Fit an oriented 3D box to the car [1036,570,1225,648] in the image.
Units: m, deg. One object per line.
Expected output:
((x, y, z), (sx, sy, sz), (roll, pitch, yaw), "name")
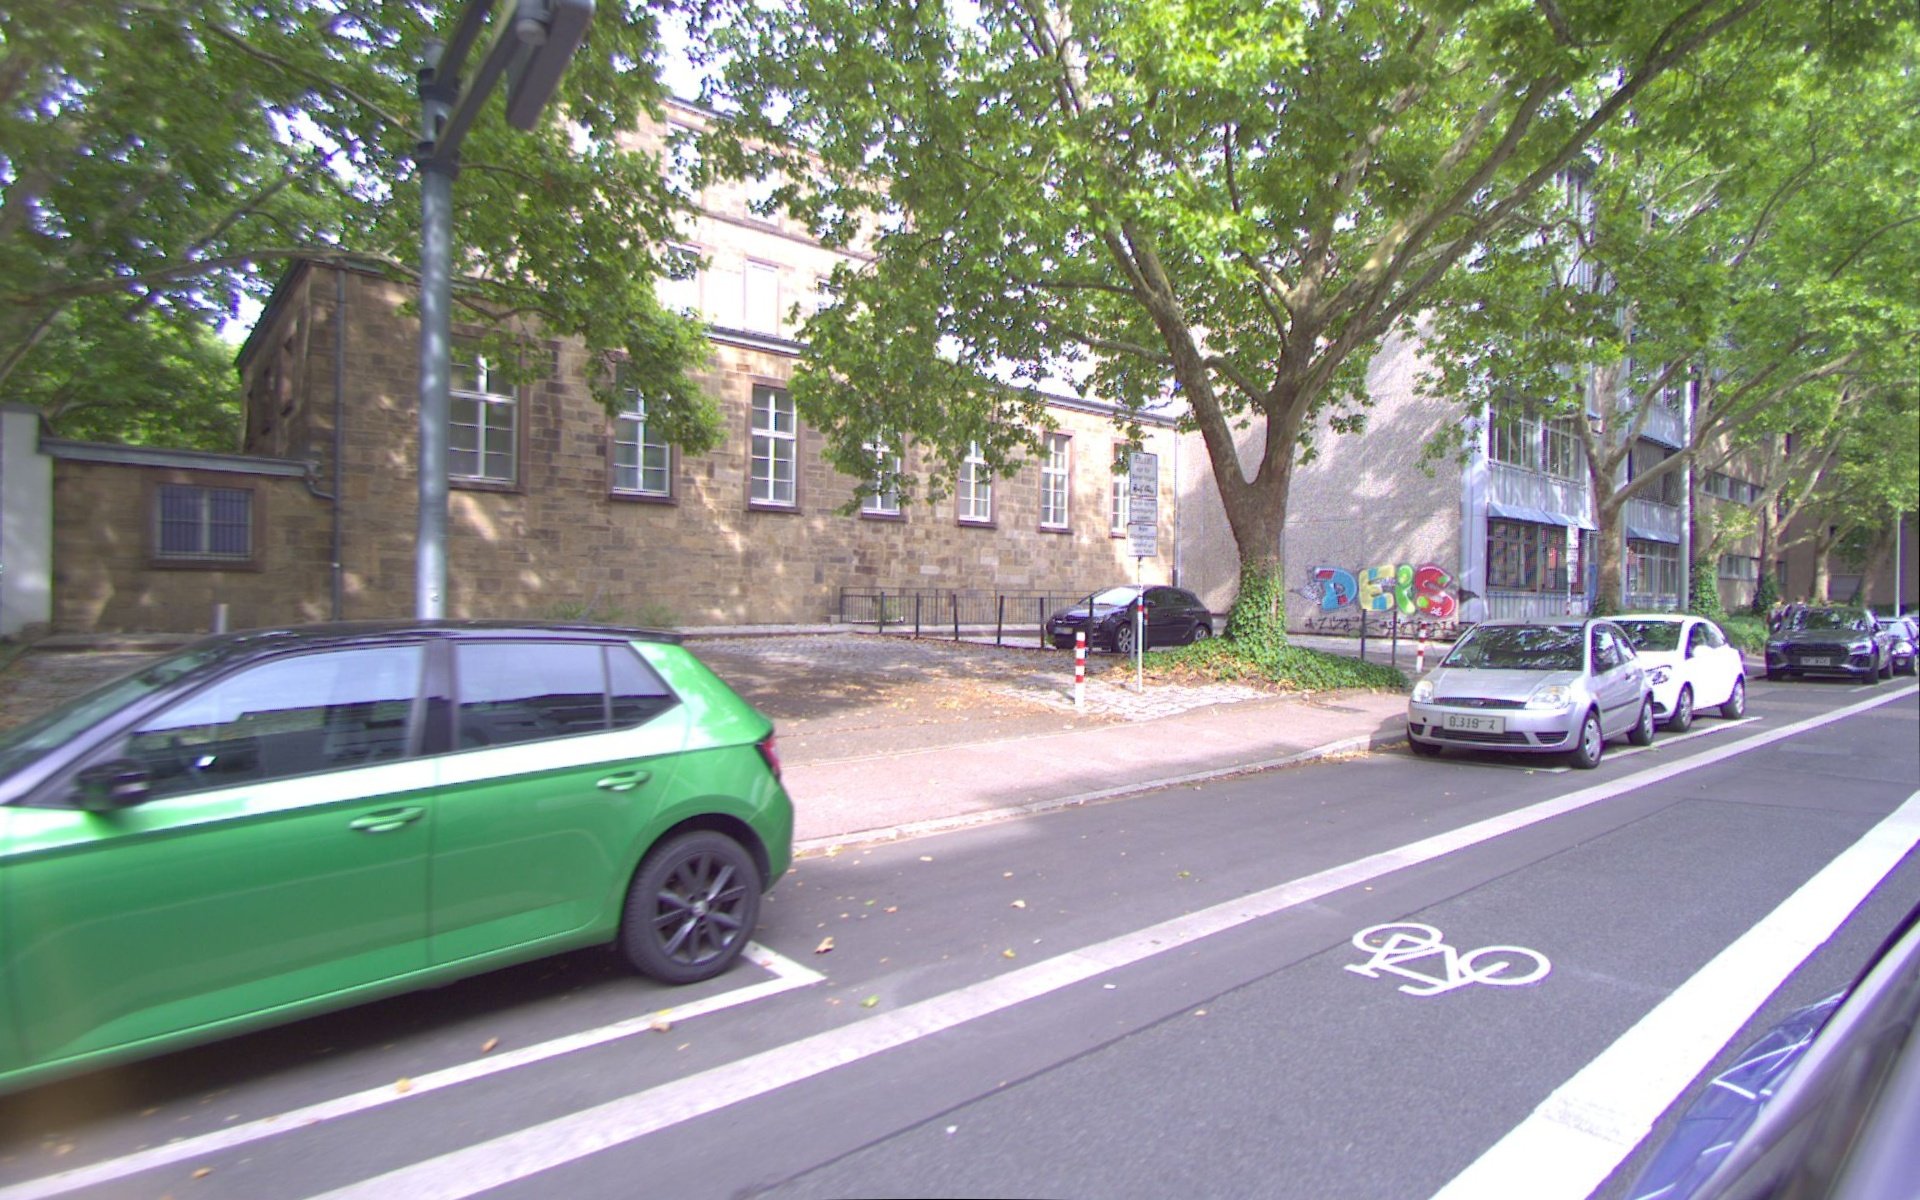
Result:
((3.679, 0.233, 21.424), (4.223, 1.468, 1.671), (3, -2, -42), "car")

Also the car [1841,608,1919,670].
((24.072, 0.940, 25.869), (4.492, 1.451, 1.642), (0, -1, -40), "car")

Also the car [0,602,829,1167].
((-2.483, 0.761, 3.752), (3.740, 1.468, 1.589), (0, -2, -42), "car")

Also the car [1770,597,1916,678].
((19.871, 0.788, 22.707), (4.404, 1.642, 1.923), (0, -1, -42), "car")

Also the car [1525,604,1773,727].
((9.672, 0.804, 14.098), (4.143, 1.466, 1.757), (0, -1, -40), "car")

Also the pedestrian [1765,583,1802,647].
((24.692, 0.445, 30.336), (0.634, 1.855, 0.643), (0, 4, -41), "pedestrian")

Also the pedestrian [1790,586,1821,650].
((24.829, 0.520, 29.706), (0.518, 1.806, 0.502), (0, 4, -41), "pedestrian")

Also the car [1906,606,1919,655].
((31.605, 0.937, 32.252), (4.361, 1.524, 1.601), (0, -1, -40), "car")

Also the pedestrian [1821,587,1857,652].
((25.406, 0.561, 29.256), (0.468, 1.806, 0.592), (0, 4, -41), "pedestrian")

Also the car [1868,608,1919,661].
((27.288, 0.944, 28.806), (3.885, 1.441, 1.601), (0, -1, -40), "car")

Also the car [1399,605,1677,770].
((6.363, 0.803, 10.958), (3.819, 1.466, 1.643), (1, -1, -45), "car")
